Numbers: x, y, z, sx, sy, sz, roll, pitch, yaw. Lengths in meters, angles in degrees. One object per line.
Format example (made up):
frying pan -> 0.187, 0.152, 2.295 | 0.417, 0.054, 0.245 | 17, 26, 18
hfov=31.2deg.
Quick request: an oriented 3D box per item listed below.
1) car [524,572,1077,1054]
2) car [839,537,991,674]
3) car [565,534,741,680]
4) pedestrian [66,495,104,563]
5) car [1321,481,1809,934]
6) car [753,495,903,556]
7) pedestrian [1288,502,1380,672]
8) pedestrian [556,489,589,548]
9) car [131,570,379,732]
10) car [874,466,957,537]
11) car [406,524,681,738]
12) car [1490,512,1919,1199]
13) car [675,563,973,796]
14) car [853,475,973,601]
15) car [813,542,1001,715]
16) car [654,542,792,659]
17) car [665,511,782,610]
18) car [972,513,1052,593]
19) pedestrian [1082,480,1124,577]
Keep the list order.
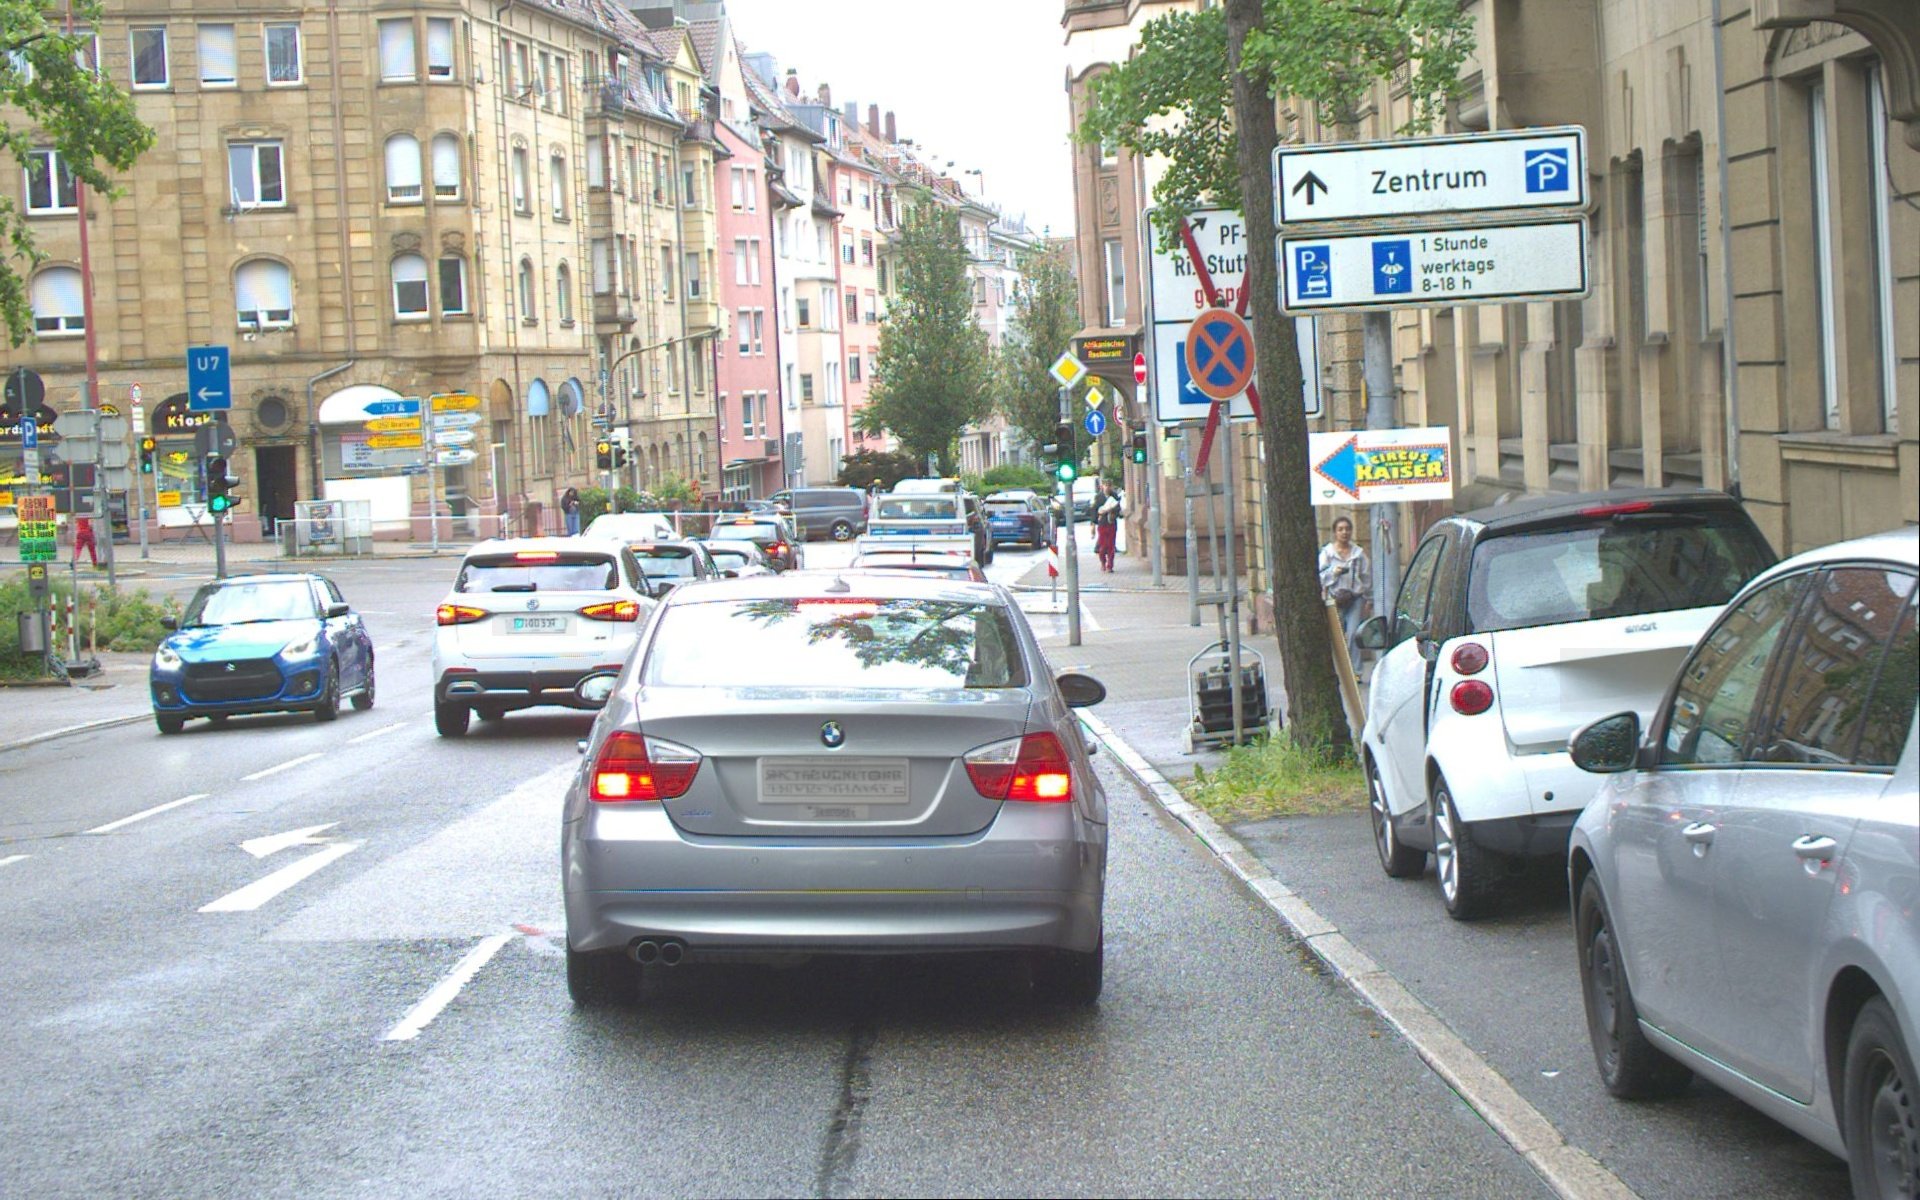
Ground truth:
car -> -0.445, 0.614, 11.926 | 1.623, 1.378, 3.615 | 0, 1, 1
car -> -0.563, 0.025, 42.086 | 1.759, 1.562, 4.000 | -1, 1, -1
car -> -3.737, 0.044, 42.440 | 1.759, 1.702, 4.000 | 0, 1, 1
pedestrian -> -20.583, -1.671, 80.841 | 0.537, 1.572, 0.719 | -1, 1, 16
car -> 2.373, 0.369, 14.069 | 1.299, 1.538, 2.976 | -6, 1, -1
car -> -4.626, -2.613, 121.444 | 5.176, 2.007, 2.699 | 1, 0, -1
pedestrian -> 3.456, -0.123, 31.826 | 0.631, 1.503, 0.693 | -5, 1, -1
pedestrian -> -10.396, -2.193, 92.212 | 0.732, 1.572, 0.528 | -1, 1, 9
car -> -6.931, 0.464, 34.131 | 1.715, 1.445, 3.742 | -1, 1, -1
car -> -1.246, -2.780, 97.610 | 1.762, 1.919, 4.322 | -1, 1, 7
car -> -3.503, 0.207, 29.581 | 1.868, 1.620, 4.000 | -2, 2, -1
car -> 2.448, 0.538, 7.604 | 1.759, 1.446, 4.000 | -6, 1, -1
car -> -0.819, 0.461, 22.846 | 1.759, 1.378, 4.000 | 0, 1, 1
car -> -0.804, -1.057, 59.719 | 1.993, 2.099, 4.000 | 0, 0, 0
car -> -0.428, 0.211, 31.240 | 1.595, 1.459, 4.000 | 0, 1, 1
car -> -3.581, -0.020, 52.528 | 1.759, 1.702, 4.000 | 0, 1, 1
car -> -4.184, -0.716, 61.368 | 1.759, 1.702, 4.000 | 0, 1, 1
car -> 1.361, -1.202, 89.275 | 1.725, 2.007, 3.999 | 1, 0, 5
pedestrian -> 2.843, -1.426, 68.501 | 0.742, 1.903, 0.659 | -1, 1, -1
